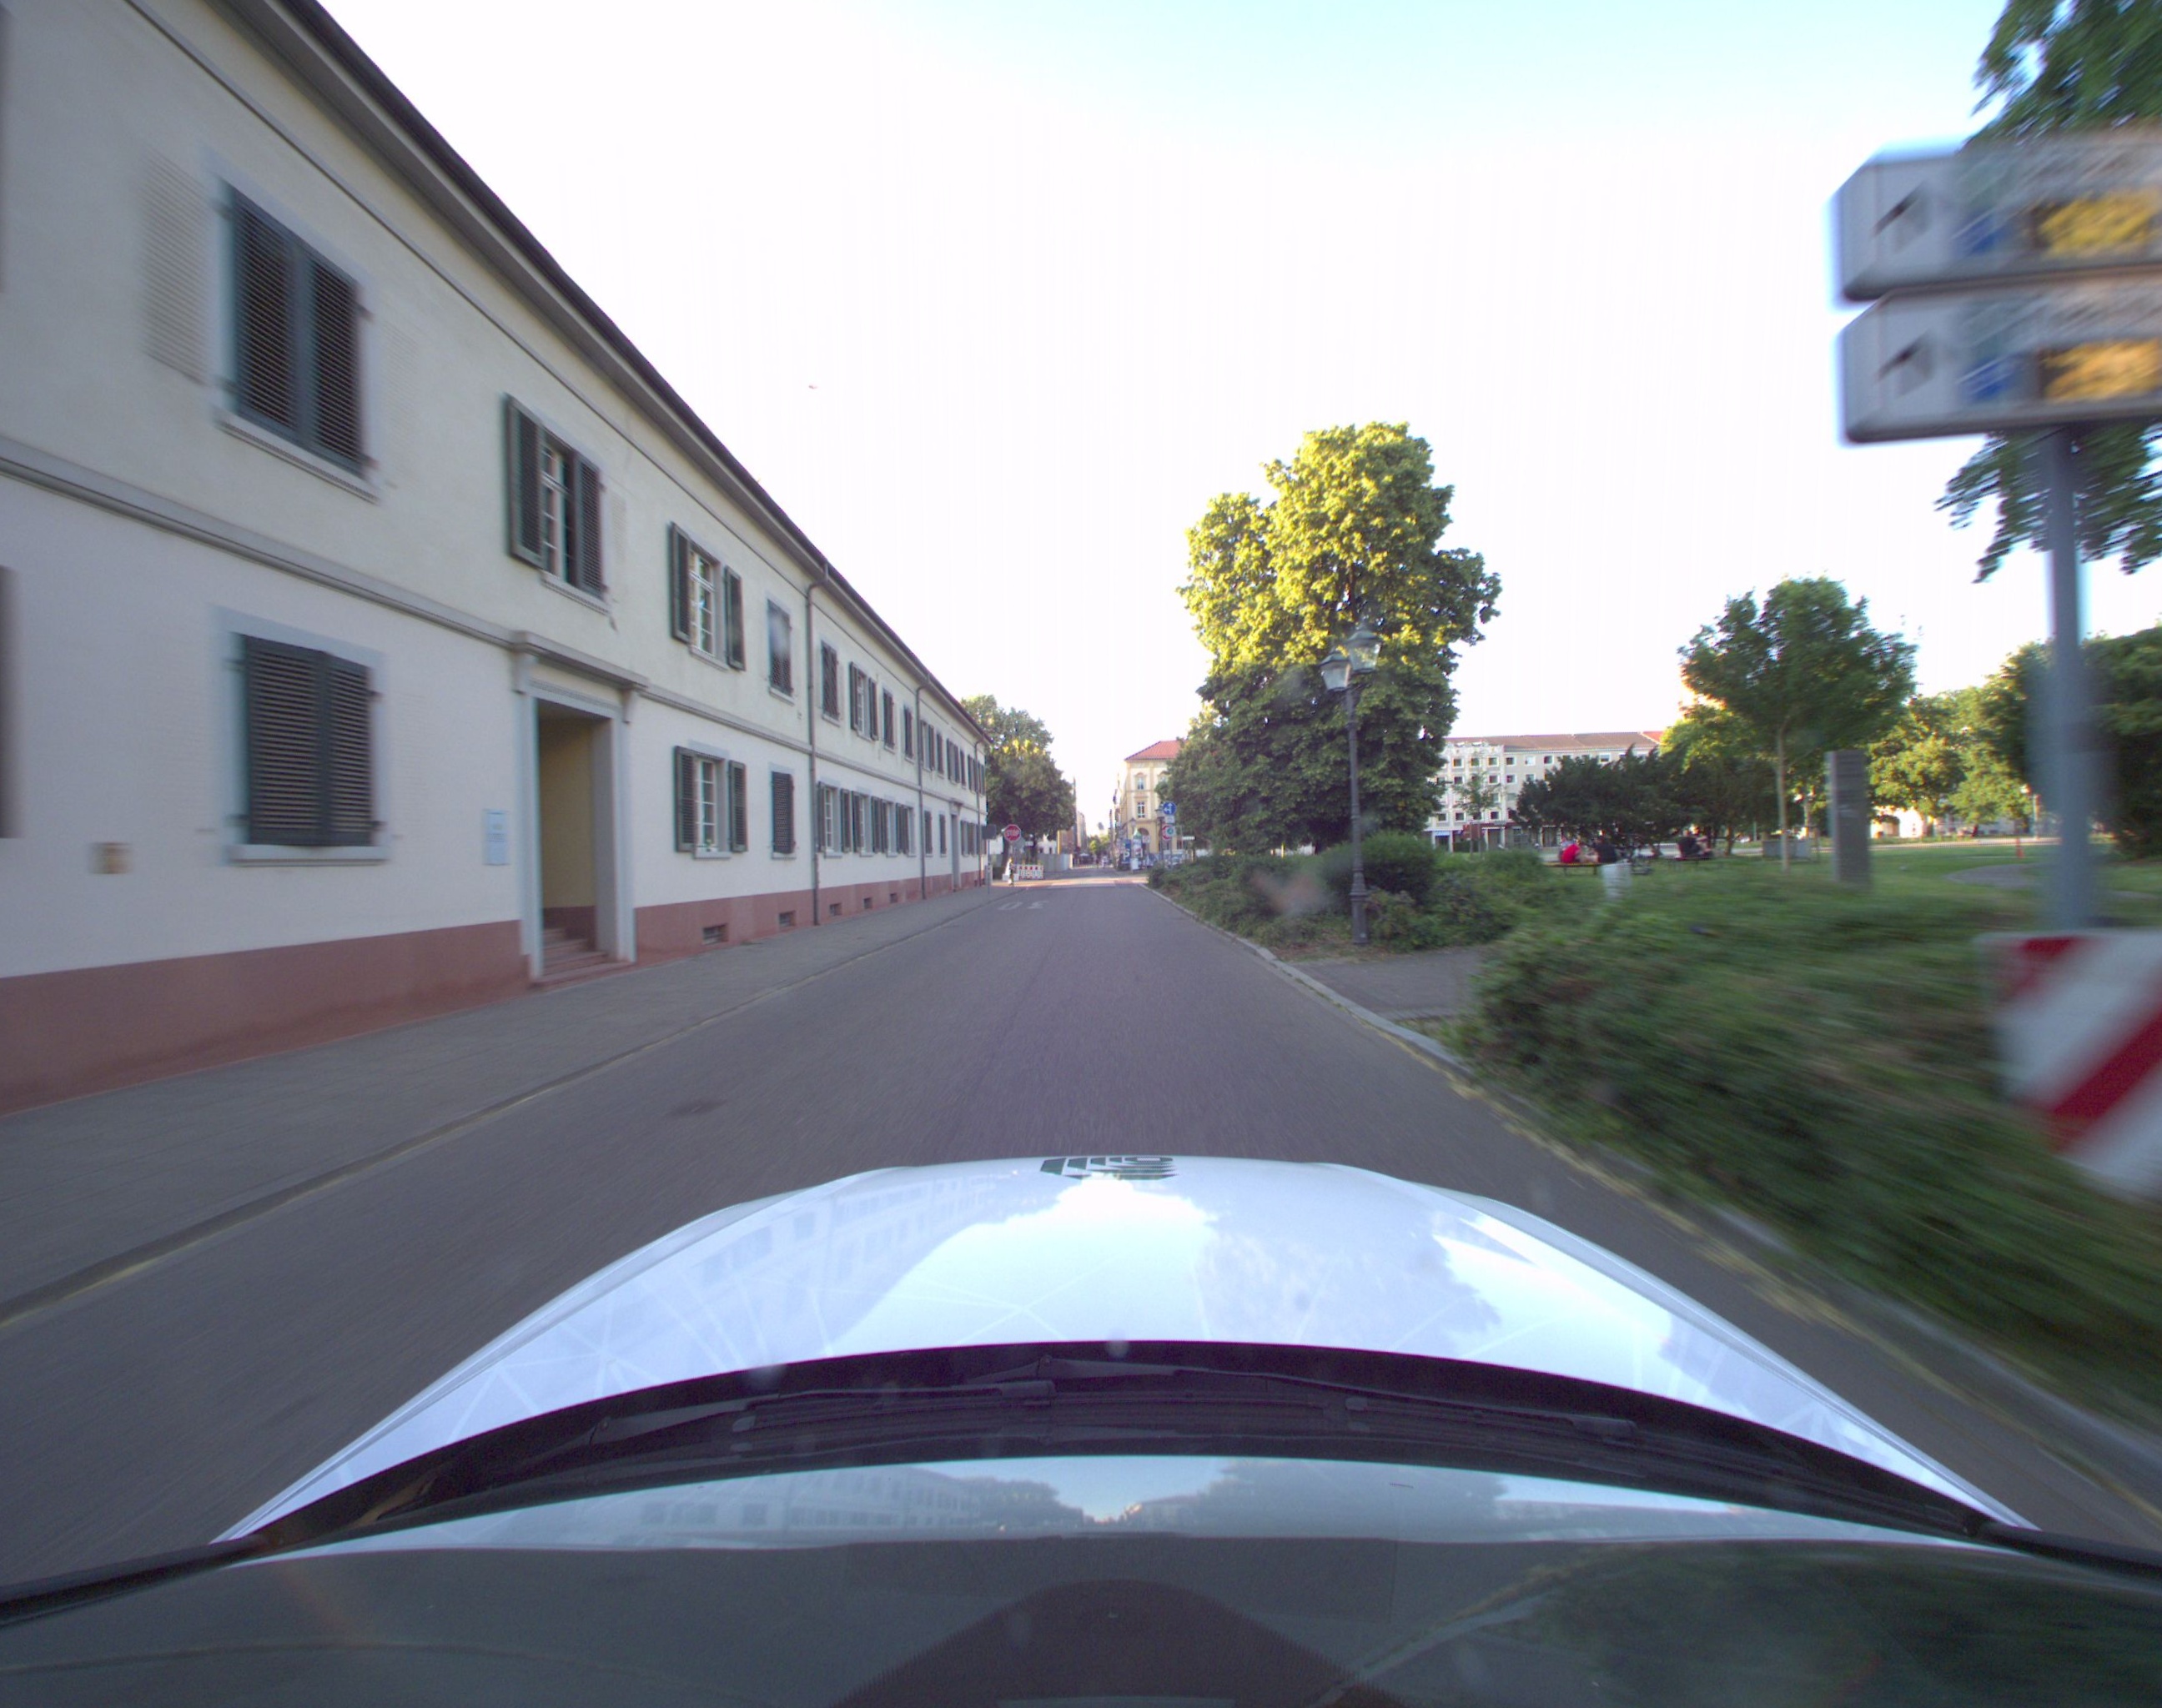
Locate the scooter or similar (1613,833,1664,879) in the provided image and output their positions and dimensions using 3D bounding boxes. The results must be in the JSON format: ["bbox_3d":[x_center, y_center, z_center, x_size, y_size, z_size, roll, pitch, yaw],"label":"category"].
[{"bbox_3d":[15.902,0.051,23.238,1.217,1.245,0.416,-2,-1,-12],"label":"scooter or similar"}]

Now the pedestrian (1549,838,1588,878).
[{"bbox_3d":[15.089,0.124,25.224,0.719,1.191,0.748,-2,-1,4],"label":"pedestrian"}]

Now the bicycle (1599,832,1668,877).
[{"bbox_3d":[17.013,0.017,25.135,0.618,1.300,2.016,-2,-1,-3],"label":"bicycle"}]

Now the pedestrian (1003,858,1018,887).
[{"bbox_3d":[-4.248,1.122,49.165,0.731,1.689,0.836,-2,-1,0],"label":"pedestrian"}]

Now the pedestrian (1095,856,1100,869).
[{"bbox_3d":[2.242,1.192,110.242,0.655,1.760,0.745,-2,-1,2],"label":"pedestrian"}]

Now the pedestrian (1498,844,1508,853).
[{"bbox_3d":[51.296,-0.650,98.949,0.889,1.077,0.624,-3,-1,18],"label":"pedestrian"}]

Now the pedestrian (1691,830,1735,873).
[{"bbox_3d":[20.575,-0.083,26.532,0.760,1.347,0.784,-2,-1,-15],"label":"pedestrian"}]

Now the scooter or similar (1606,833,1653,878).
[{"bbox_3d":[16.069,0.044,23.867,1.219,1.245,0.416,-2,-1,-16],"label":"scooter or similar"}]

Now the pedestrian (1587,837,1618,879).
[{"bbox_3d":[15.260,0.115,23.858,0.656,1.191,0.800,-3,-1,29],"label":"pedestrian"}]

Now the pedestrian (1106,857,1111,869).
[{"bbox_3d":[3.690,1.156,108.461,0.655,1.617,0.745,-2,-1,1],"label":"pedestrian"}]

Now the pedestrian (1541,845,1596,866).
[{"bbox_3d":[14.604,0.051,24.445,0.541,0.549,1.369,-5,0,-18],"label":"pedestrian"}]

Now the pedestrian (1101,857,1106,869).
[{"bbox_3d":[2.989,1.164,108.454,0.655,1.617,0.745,-2,-1,1],"label":"pedestrian"}]

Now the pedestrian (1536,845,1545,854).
[{"bbox_3d":[51.588,-0.517,91.424,0.512,0.925,0.616,-2,-1,-24],"label":"pedestrian"}]

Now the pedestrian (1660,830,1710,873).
[{"bbox_3d":[19.670,-0.079,26.531,0.918,1.347,0.880,-2,-1,-15],"label":"pedestrian"}]

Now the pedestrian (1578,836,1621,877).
[{"bbox_3d":[15.842,0.081,24.905,0.803,1.191,0.790,-2,-1,4],"label":"pedestrian"}]
